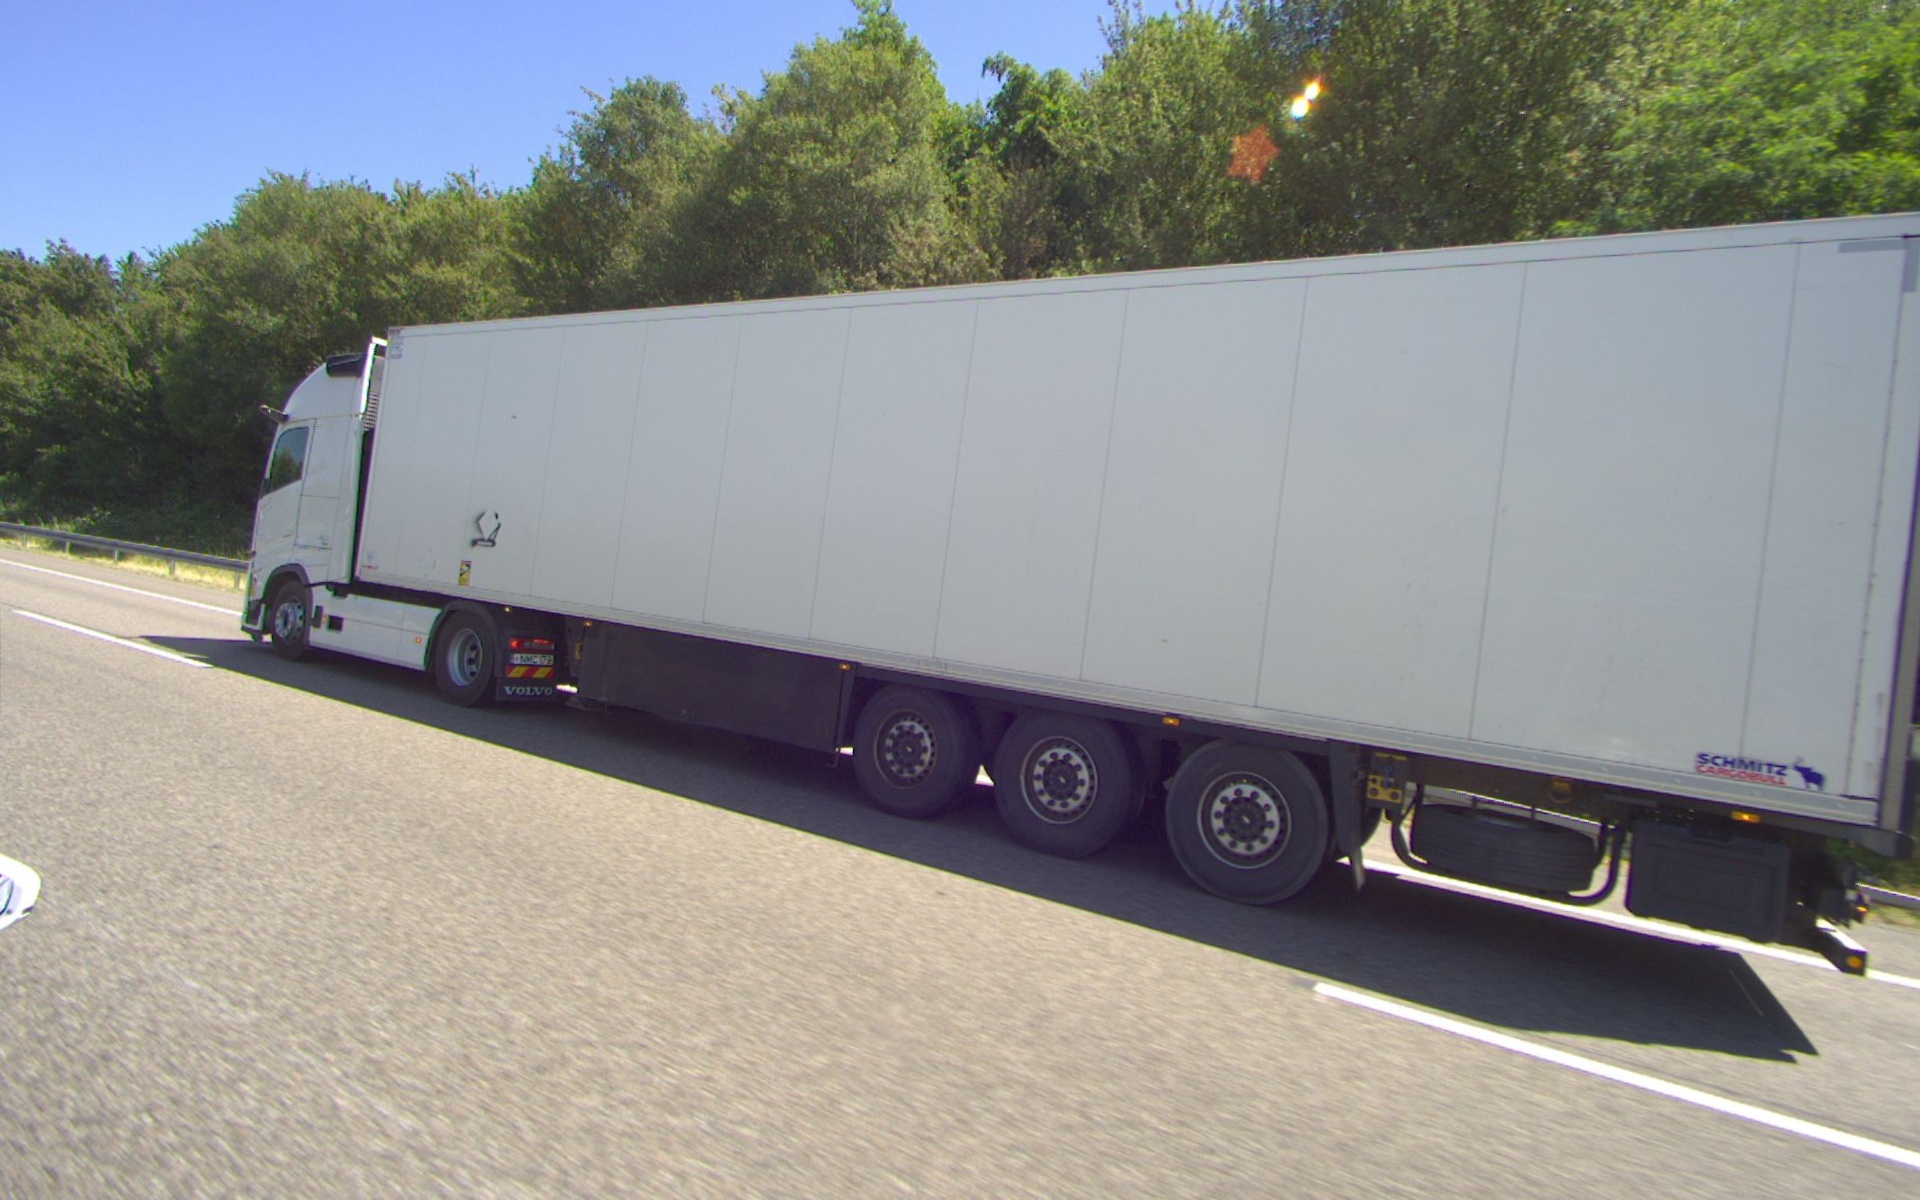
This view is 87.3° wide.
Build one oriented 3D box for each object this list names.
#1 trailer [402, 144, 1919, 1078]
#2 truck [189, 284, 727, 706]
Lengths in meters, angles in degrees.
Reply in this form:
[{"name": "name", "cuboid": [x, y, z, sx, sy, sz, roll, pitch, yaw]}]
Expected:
[{"name": "trailer", "cuboid": [0.926, -0.348, 8.469, 13.603, 4.274, 3.045, 7, -1, 31]}, {"name": "truck", "cuboid": [-6.498, -1.206, 12.926, 5.947, 4.265, 3.053, 7, -1, 31]}]
